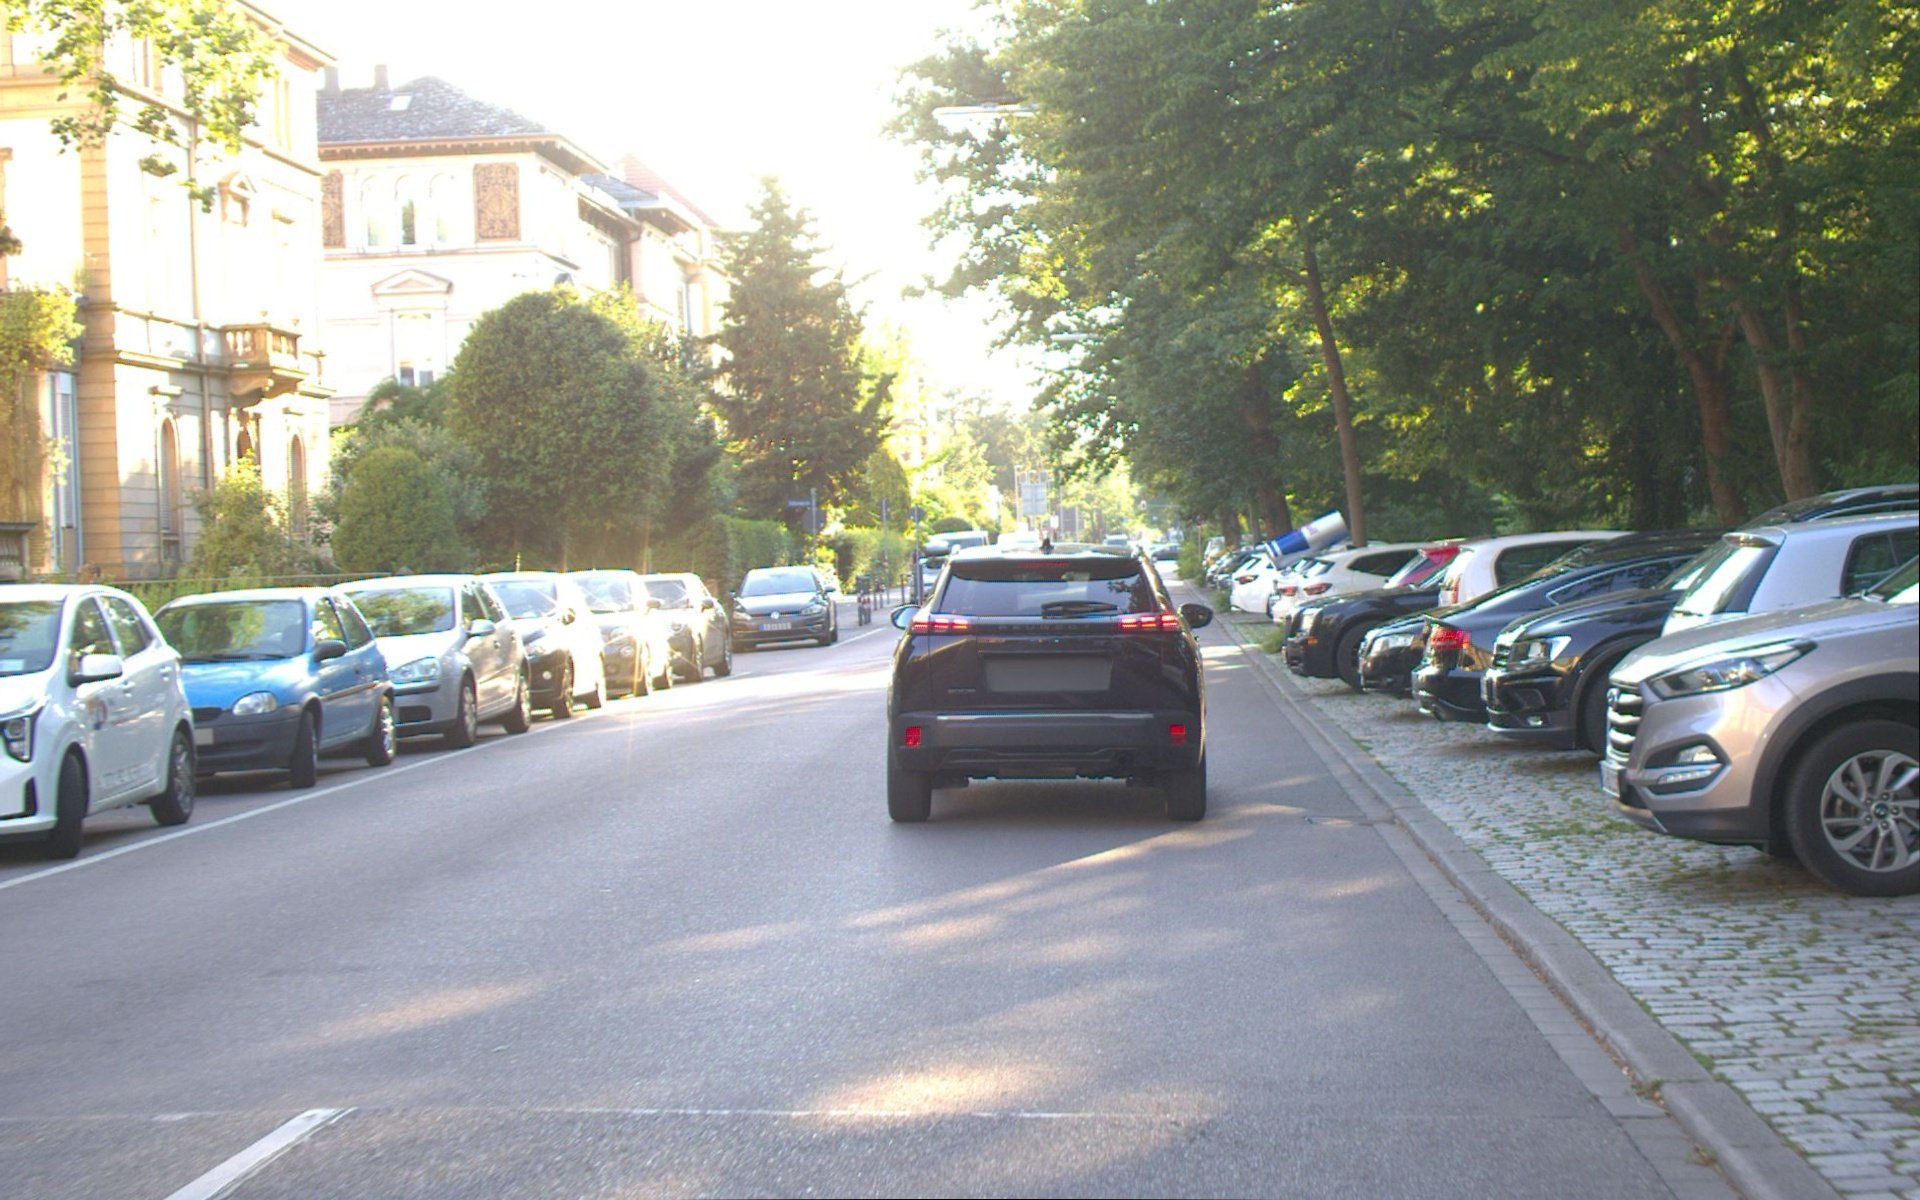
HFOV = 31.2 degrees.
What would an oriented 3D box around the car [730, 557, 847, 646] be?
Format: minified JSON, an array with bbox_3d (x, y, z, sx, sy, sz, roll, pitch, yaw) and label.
[{"bbox_3d":[-3.054,0.003,61.910,1.752,1.409,3.764,-4,1,2],"label":"car"}]

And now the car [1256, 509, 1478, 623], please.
[{"bbox_3d":[7.791,-0.659,66.043,3.986,2.082,1.758,-1,1,-1],"label":"car"}]

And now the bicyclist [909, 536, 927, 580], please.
[{"bbox_3d":[-1.713,-1.748,141.704,0.693,1.786,0.773,-1,1,0],"label":"bicyclist"}]

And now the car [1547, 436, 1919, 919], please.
[{"bbox_3d":[4.758,0.204,14.142,4.307,1.798,2.035,-3,1,2],"label":"car"}]

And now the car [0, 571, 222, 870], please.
[{"bbox_3d":[-5.489,0.644,19.567,1.614,1.510,3.712,-4,1,1],"label":"car"}]

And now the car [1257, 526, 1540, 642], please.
[{"bbox_3d":[6.577,-0.252,51.820,3.986,1.619,1.758,-1,1,-1],"label":"car"}]

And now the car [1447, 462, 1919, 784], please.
[{"bbox_3d":[5.324,0.080,21.565,4.245,1.783,1.883,-3,1,3],"label":"car"}]

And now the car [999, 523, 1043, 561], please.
[{"bbox_3d":[2.993,-2.859,168.661,1.994,1.809,4.000,-1,1,3],"label":"car"}]

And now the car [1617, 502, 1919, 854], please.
[{"bbox_3d":[5.268,0.287,16.282,3.987,1.549,1.725,-2,1,3],"label":"car"}]

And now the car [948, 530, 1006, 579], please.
[{"bbox_3d":[0.645,-1.718,129.848,1.994,1.762,4.000,-1,1,3],"label":"car"}]

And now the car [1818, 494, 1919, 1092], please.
[{"bbox_3d":[4.712,0.418,8.826,4.484,1.549,1.857,-2,-1,0],"label":"car"}]

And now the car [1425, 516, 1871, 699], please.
[{"bbox_3d":[6.256,0.054,31.613,3.809,1.444,1.826,-3,1,7],"label":"car"}]

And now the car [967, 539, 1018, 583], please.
[{"bbox_3d":[1.387,-1.654,145.612,1.994,1.809,4.000,-1,1,3],"label":"car"}]

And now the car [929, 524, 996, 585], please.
[{"bbox_3d":[0.100,-1.579,117.988,1.994,2.007,4.000,-1,1,4],"label":"car"}]

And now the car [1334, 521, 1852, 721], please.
[{"bbox_3d":[5.311,0.164,29.283,4.158,1.444,1.730,-3,1,7],"label":"car"}]

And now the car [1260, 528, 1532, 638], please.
[{"bbox_3d":[6.826,-0.279,54.081,3.986,1.619,1.758,-1,1,-1],"label":"car"}]

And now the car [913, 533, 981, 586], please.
[{"bbox_3d":[-0.386,-1.270,107.411,1.900,1.568,4.000,-1,1,3],"label":"car"}]

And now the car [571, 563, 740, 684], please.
[{"bbox_3d":[-4.010,0.278,45.875,1.614,1.461,4.035,-2,1,3],"label":"car"}]

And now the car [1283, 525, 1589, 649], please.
[{"bbox_3d":[6.410,-0.184,46.555,3.808,1.444,1.826,-3,1,-1],"label":"car"}]

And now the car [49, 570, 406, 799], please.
[{"bbox_3d":[-5.266,0.557,25.173,1.614,1.480,3.742,-2,1,3],"label":"car"}]

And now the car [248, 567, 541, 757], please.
[{"bbox_3d":[-4.836,0.487,29.930,1.614,1.461,4.035,-2,1,3],"label":"car"}]

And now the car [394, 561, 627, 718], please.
[{"bbox_3d":[-4.601,0.366,35.699,1.614,1.461,4.035,-2,1,3],"label":"car"}]

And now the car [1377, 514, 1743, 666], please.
[{"bbox_3d":[6.855,-0.123,39.571,3.808,1.505,1.826,-3,1,-1],"label":"car"}]

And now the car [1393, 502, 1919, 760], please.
[{"bbox_3d":[5.162,0.184,24.236,3.987,1.549,1.725,-3,1,3],"label":"car"}]

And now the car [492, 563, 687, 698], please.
[{"bbox_3d":[-4.377,0.322,41.107,1.614,1.461,4.035,-2,1,3],"label":"car"}]

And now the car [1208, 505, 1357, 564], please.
[{"bbox_3d":[8.795,-1.790,93.951,3.987,1.520,1.758,-1,1,4],"label":"car"}]

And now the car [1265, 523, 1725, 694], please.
[{"bbox_3d":[5.275,0.070,34.350,4.243,1.444,2.021,-3,1,1],"label":"car"}]

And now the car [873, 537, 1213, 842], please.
[{"bbox_3d":[0.428,0.438,20.209,1.771,1.563,4.109,1,1,0],"label":"car"}]

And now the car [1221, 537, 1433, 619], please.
[{"bbox_3d":[7.327,-0.448,68.869,3.986,1.520,1.758,-1,1,-1],"label":"car"}]

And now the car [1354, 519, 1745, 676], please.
[{"bbox_3d":[6.307,-0.036,37.091,3.808,1.444,1.877,-3,1,-1],"label":"car"}]
